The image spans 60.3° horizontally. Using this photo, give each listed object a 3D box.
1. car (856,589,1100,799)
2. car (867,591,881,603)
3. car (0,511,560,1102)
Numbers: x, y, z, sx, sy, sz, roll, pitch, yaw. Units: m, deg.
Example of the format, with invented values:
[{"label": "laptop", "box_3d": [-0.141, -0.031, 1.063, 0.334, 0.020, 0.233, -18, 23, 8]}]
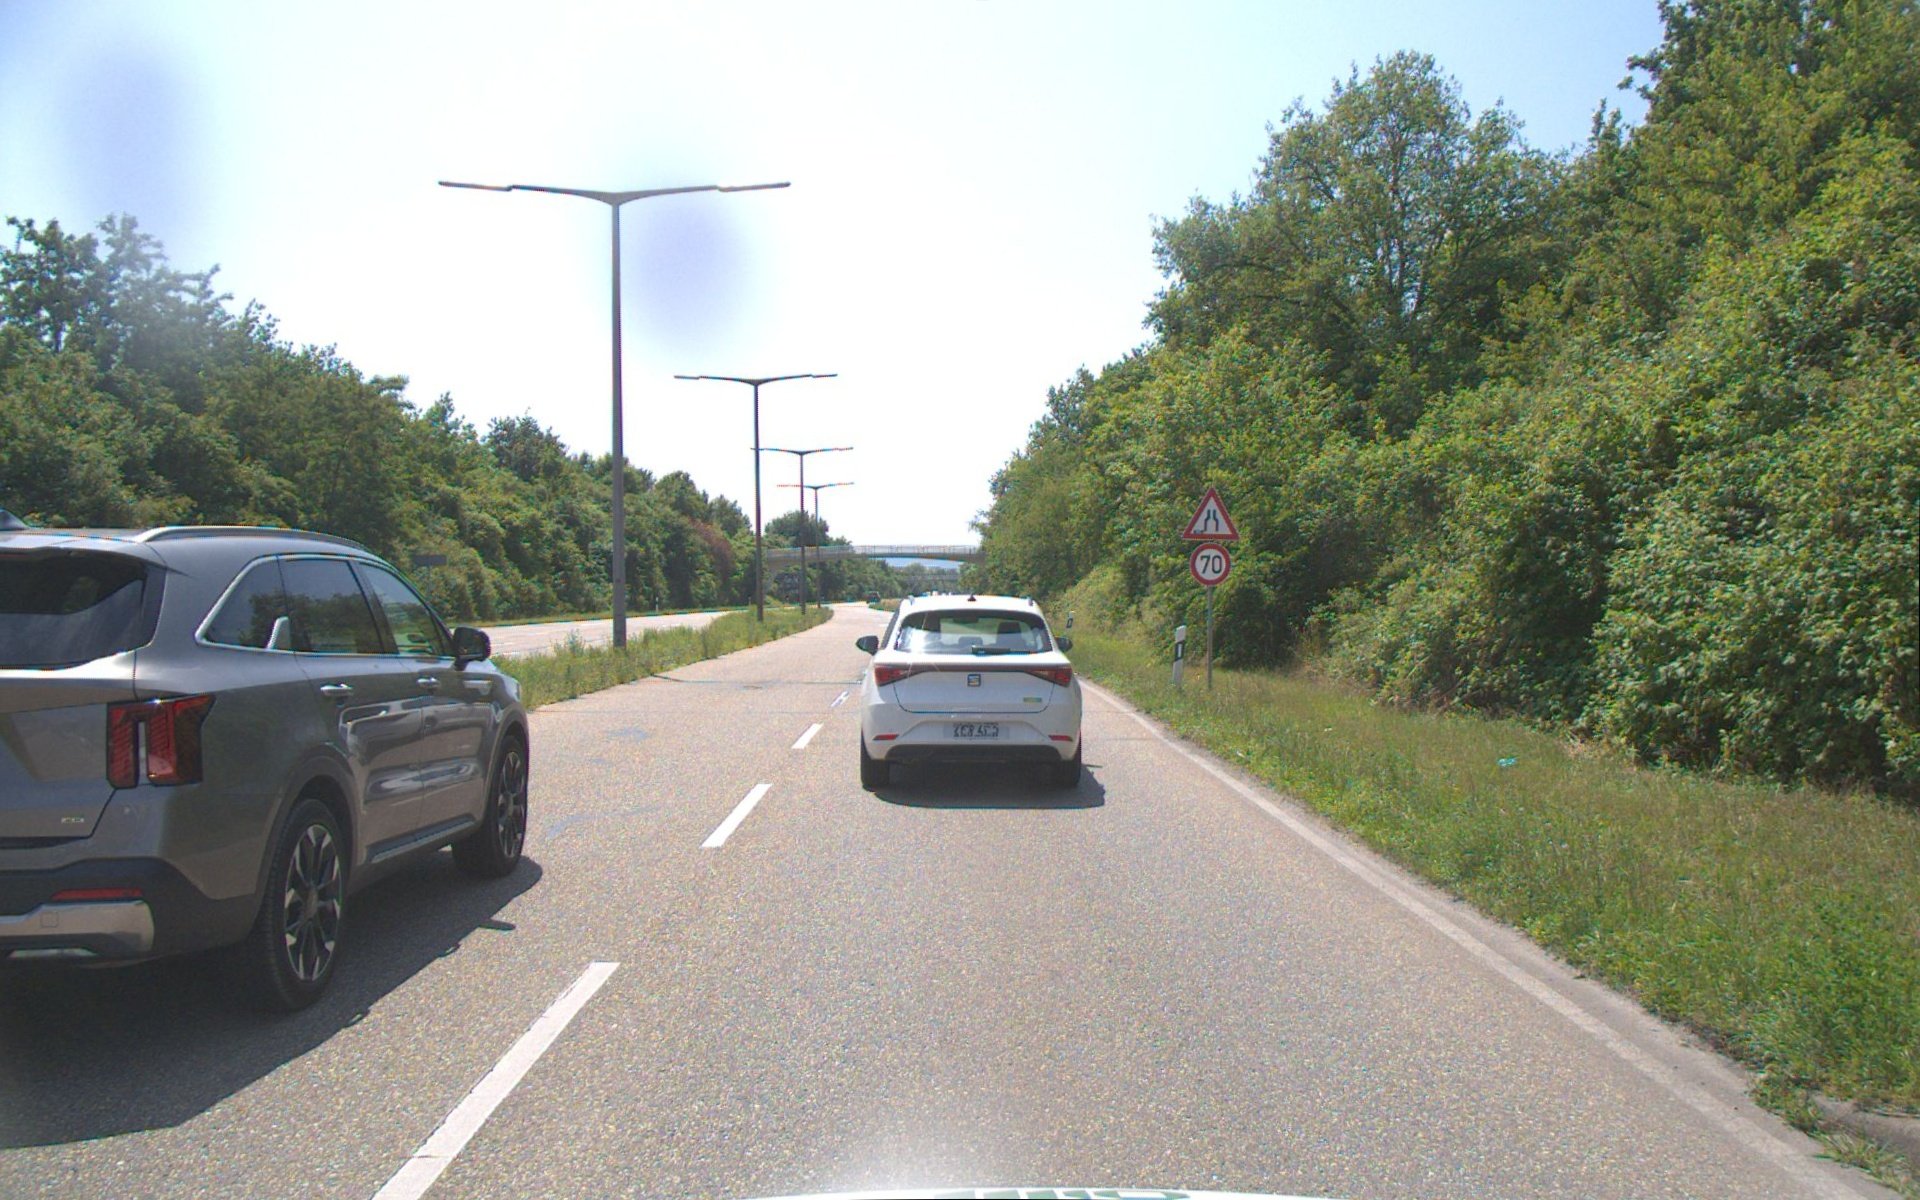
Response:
[{"label": "car", "box_3d": [0.120, 0.675, 13.553, 1.699, 1.453, 3.694, 1, 0, 0]}, {"label": "car", "box_3d": [-13.078, -0.417, 251.255, 1.819, 1.739, 3.996, 0, 0, -5]}, {"label": "car", "box_3d": [-3.146, 0.587, 7.053, 1.767, 1.691, 4.644, 0, 0, 0]}]
